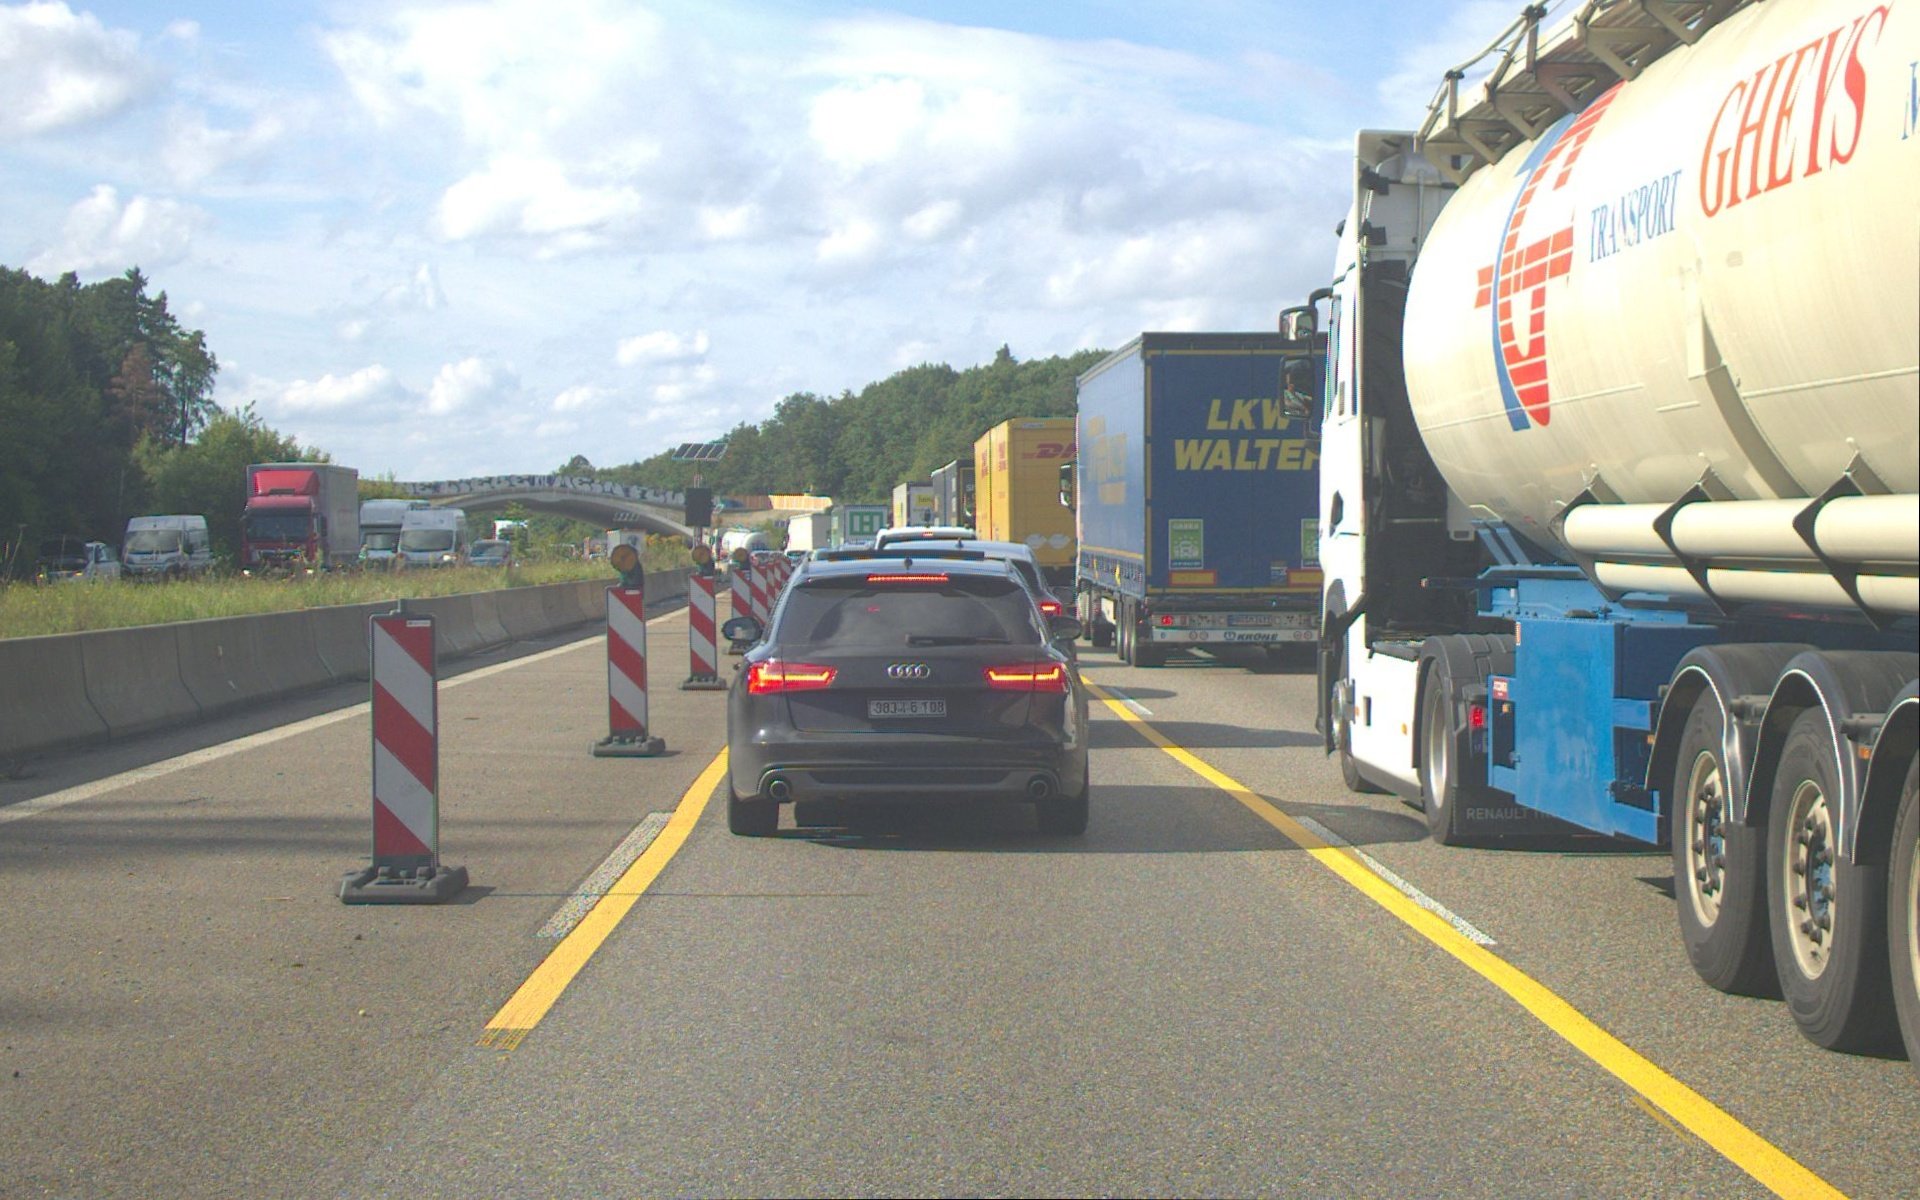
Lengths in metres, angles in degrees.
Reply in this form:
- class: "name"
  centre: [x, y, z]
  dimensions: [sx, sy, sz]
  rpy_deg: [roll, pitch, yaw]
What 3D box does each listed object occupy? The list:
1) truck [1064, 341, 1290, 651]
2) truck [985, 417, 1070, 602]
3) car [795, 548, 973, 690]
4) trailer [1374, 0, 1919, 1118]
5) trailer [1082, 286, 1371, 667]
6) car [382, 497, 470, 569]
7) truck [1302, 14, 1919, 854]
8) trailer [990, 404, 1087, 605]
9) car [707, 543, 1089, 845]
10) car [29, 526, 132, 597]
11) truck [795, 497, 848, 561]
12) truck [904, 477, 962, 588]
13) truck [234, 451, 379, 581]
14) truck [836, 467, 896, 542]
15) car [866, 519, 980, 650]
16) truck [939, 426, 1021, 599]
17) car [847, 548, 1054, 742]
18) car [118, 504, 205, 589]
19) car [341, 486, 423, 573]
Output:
- class: "truck"
  centre: [3.199, -1.508, 52.632]
  dimensions: [2.806, 4.354, 7.792]
  rpy_deg: [1, 0, -1]
- class: "truck"
  centre: [1.442, -1.924, 74.512]
  dimensions: [1.609, 3.883, 4.072]
  rpy_deg: [1, 0, -1]
- class: "car"
  centre: [-0.775, 0.176, 36.005]
  dimensions: [1.751, 1.392, 3.608]
  rpy_deg: [1, 0, -1]
- class: "trailer"
  centre: [3.698, -0.707, 12.486]
  dimensions: [2.644, 3.929, 12.598]
  rpy_deg: [1, 1, -1]
- class: "trailer"
  centre: [3.293, -1.484, 45.290]
  dimensions: [2.805, 4.398, 10.433]
  rpy_deg: [1, 0, -1]
- class: "car"
  centre: [-18.747, -2.343, 120.918]
  dimensions: [2.160, 2.443, 6.332]
  rpy_deg: [1, 1, -1]
- class: "truck"
  centre: [3.593, -0.808, 19.222]
  dimensions: [2.659, 3.958, 5.779]
  rpy_deg: [1, 0, -1]
- class: "trailer"
  centre: [1.559, -1.899, 70.399]
  dimensions: [1.616, 3.905, 6.490]
  rpy_deg: [1, 0, -1]
- class: "car"
  centre: [-0.325, 0.441, 18.701]
  dimensions: [1.848, 1.458, 4.000]
  rpy_deg: [0, 0, -1]
- class: "car"
  centre: [-25.667, -1.109, 100.414]
  dimensions: [1.993, 2.007, 4.000]
  rpy_deg: [1, 0, -1]
- class: "truck"
  centre: [-9.261, -4.707, 228.845]
  dimensions: [3.303, 4.160, 9.704]
  rpy_deg: [0, 1, -4]
- class: "truck"
  centre: [-1.100, -2.633, 135.597]
  dimensions: [2.137, 4.243, 7.072]
  rpy_deg: [1, 0, -1]
- class: "truck"
  centre: [-21.040, -2.689, 111.284]
  dimensions: [2.800, 3.978, 10.186]
  rpy_deg: [1, 1, -1]
- class: "truck"
  centre: [-5.458, -5.487, 198.700]
  dimensions: [3.304, 4.160, 9.703]
  rpy_deg: [0, 1, -3]
- class: "car"
  centre: [-0.541, -0.231, 50.197]
  dimensions: [1.581, 1.830, 3.112]
  rpy_deg: [1, 0, -1]
- class: "truck"
  centre: [0.531, -2.574, 102.495]
  dimensions: [1.993, 4.897, 9.563]
  rpy_deg: [1, 1, -2]
- class: "car"
  centre: [-0.087, 0.322, 27.297]
  dimensions: [1.524, 1.434, 3.285]
  rpy_deg: [1, 0, -1]
- class: "car"
  centre: [-25.588, -1.711, 110.269]
  dimensions: [2.250, 2.634, 5.021]
  rpy_deg: [1, 0, -8]
- class: "car"
  centre: [-23.043, -2.783, 137.307]
  dimensions: [2.486, 3.358, 7.453]
  rpy_deg: [1, 0, -4]
